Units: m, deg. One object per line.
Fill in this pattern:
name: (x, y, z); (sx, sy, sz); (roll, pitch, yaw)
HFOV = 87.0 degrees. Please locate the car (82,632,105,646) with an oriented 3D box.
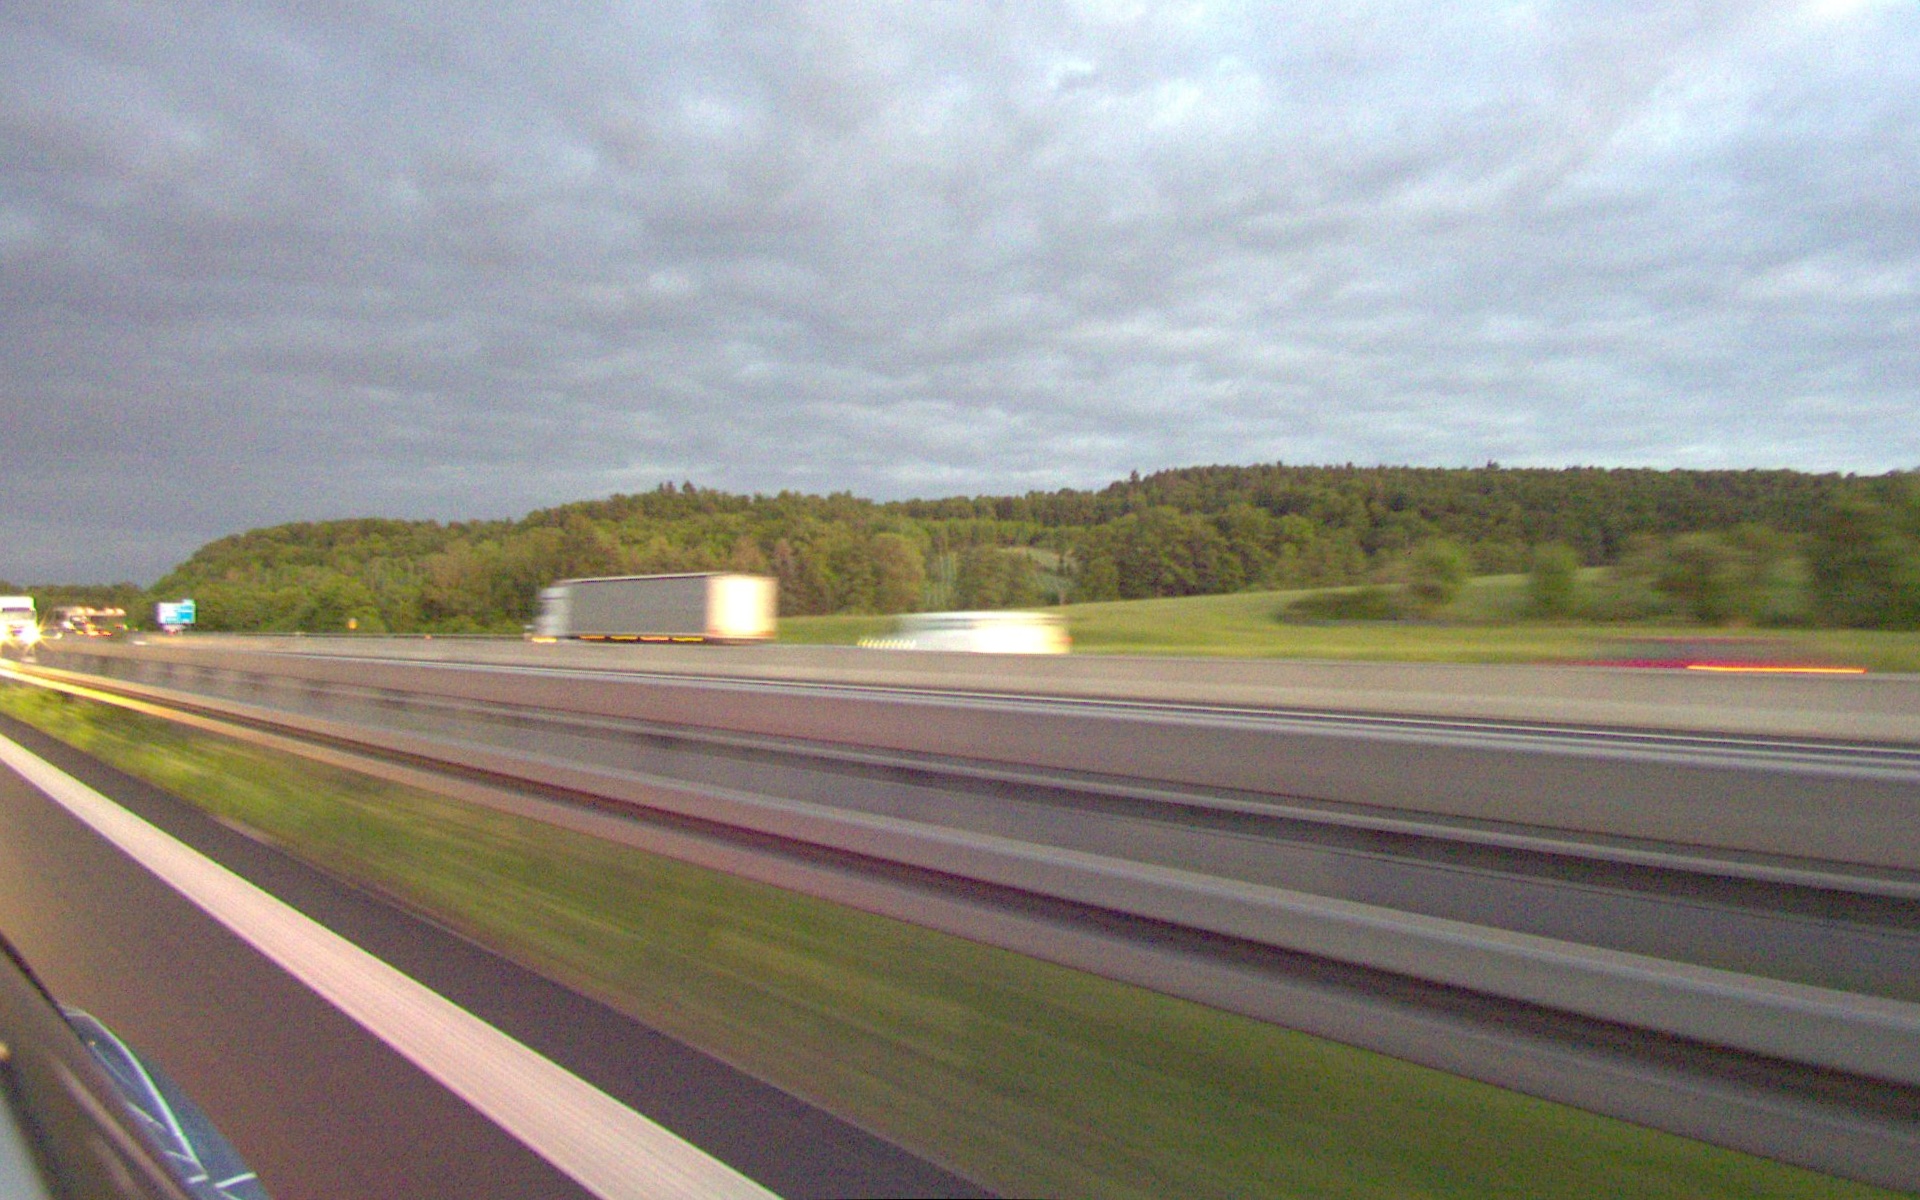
car: (-107.583, 4.870, 125.682); (3.750, 1.719, 1.665); (-2, -2, 41)

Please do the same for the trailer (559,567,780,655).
trailer: (-14.554, 0.623, 49.464); (13.877, 3.794, 3.292); (-1, -3, 41)

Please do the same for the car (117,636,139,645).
car: (-121.734, 5.924, 148.111); (3.889, 1.329, 1.750); (-1, -3, 39)

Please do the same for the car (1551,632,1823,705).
car: (14.190, 1.274, 19.903); (4.211, 1.259, 1.734); (-1, -3, 41)

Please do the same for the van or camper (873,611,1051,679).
van or camper: (-0.040, 1.336, 31.029); (5.535, 1.921, 1.872); (-1, -2, 40)

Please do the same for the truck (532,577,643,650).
truck: (-19.935, 0.776, 54.094); (5.494, 3.647, 3.276); (-1, -3, 41)

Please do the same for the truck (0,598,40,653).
truck: (-78.985, 2.106, 83.672); (9.885, 4.334, 3.007); (-1, -3, 41)
